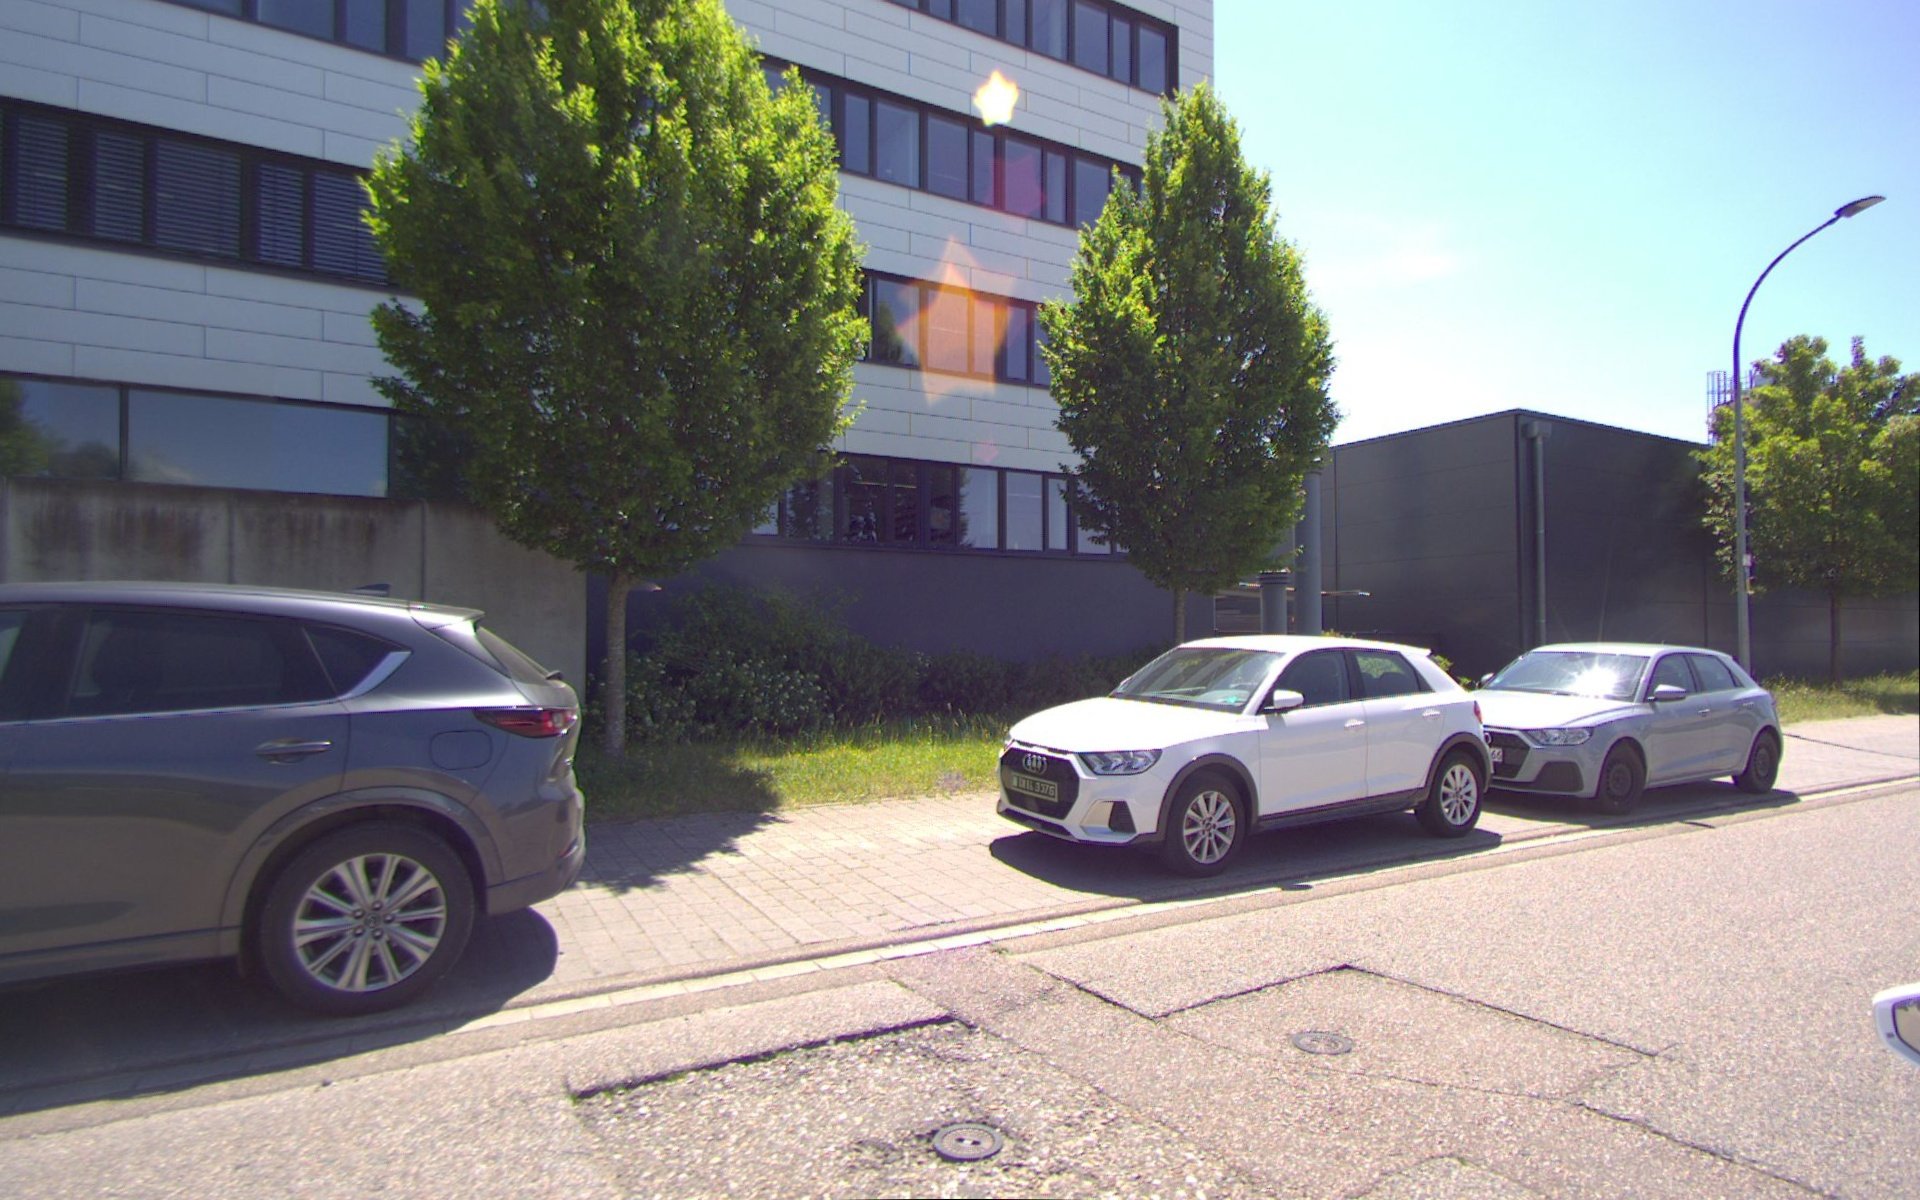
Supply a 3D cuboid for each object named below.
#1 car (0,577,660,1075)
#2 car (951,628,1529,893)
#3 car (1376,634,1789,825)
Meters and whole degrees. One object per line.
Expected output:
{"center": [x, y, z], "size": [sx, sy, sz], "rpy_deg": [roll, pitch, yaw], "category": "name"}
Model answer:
{"center": [-3.708, 0.742, 4.016], "size": [4.528, 1.645, 1.762], "rpy_deg": [1, 0, -30], "category": "car"}
{"center": [2.166, 0.967, 7.484], "size": [4.151, 1.450, 1.762], "rpy_deg": [1, 0, -30], "category": "car"}
{"center": [6.042, 1.085, 9.681], "size": [3.893, 1.450, 1.762], "rpy_deg": [1, 0, -30], "category": "car"}
